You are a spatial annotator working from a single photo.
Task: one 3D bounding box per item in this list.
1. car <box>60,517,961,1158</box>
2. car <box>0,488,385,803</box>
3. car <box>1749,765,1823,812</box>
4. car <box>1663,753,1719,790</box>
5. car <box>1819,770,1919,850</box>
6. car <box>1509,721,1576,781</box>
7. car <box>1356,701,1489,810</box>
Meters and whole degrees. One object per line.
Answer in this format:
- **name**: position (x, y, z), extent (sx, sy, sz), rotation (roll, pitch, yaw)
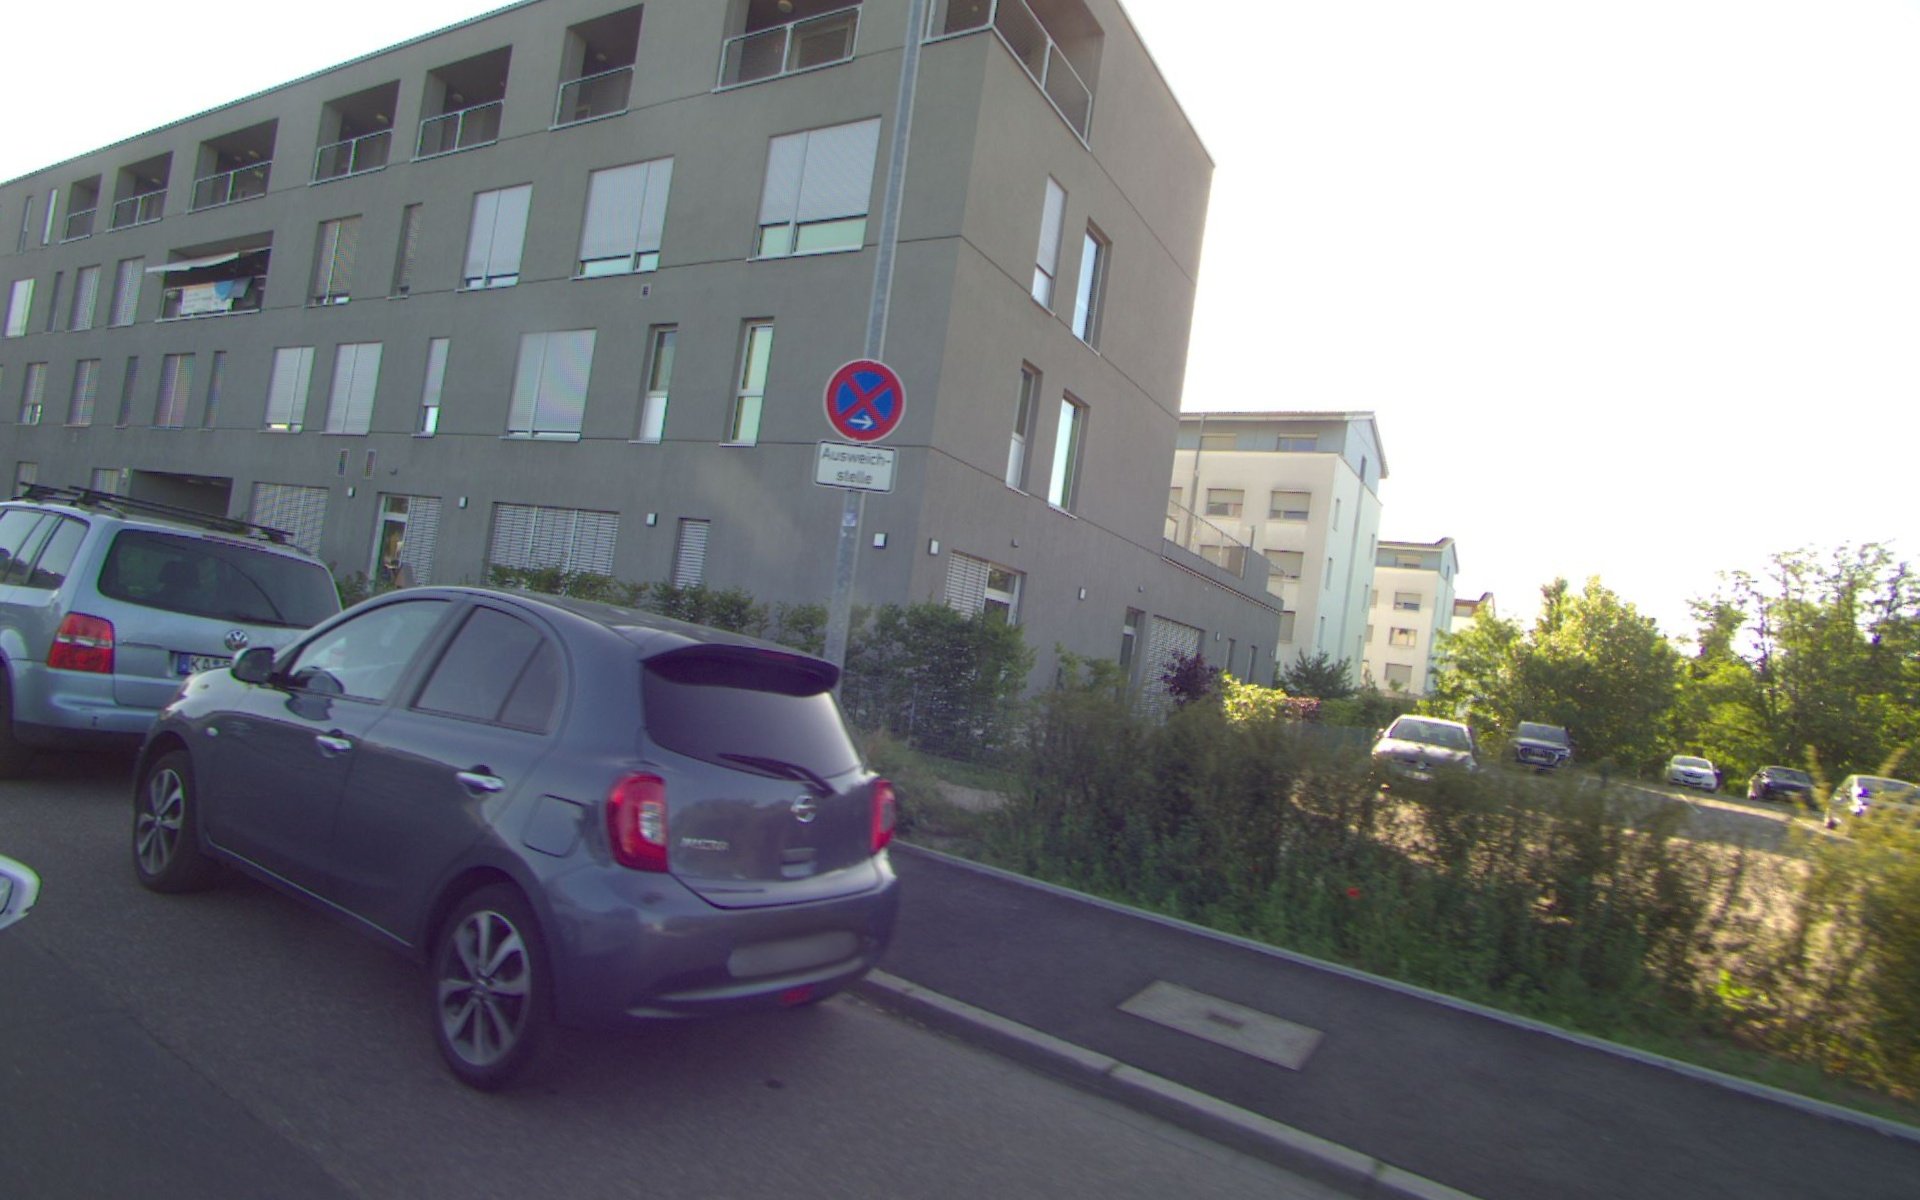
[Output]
- **car**: position (-2.133, 0.674, 4.455), extent (3.838, 1.541, 1.628), rotation (7, -5, 33)
- **car**: position (-6.149, 0.182, 7.057), extent (4.109, 1.624, 1.683), rotation (7, -5, 31)
- **car**: position (31.187, 7.080, 38.088), extent (1.661, 1.261, 3.882), rotation (7, -2, 34)
- **car**: position (31.422, 7.354, 43.321), extent (1.661, 1.100, 3.883), rotation (7, -2, 33)
- **car**: position (22.252, 5.042, 24.393), extent (1.602, 1.477, 3.674), rotation (7, -3, 34)
- **car**: position (18.753, 4.787, 32.317), extent (1.616, 1.558, 3.896), rotation (7, -2, 32)
- **car**: position (8.902, 2.900, 19.176), extent (1.855, 1.543, 4.129), rotation (7, -3, 29)
